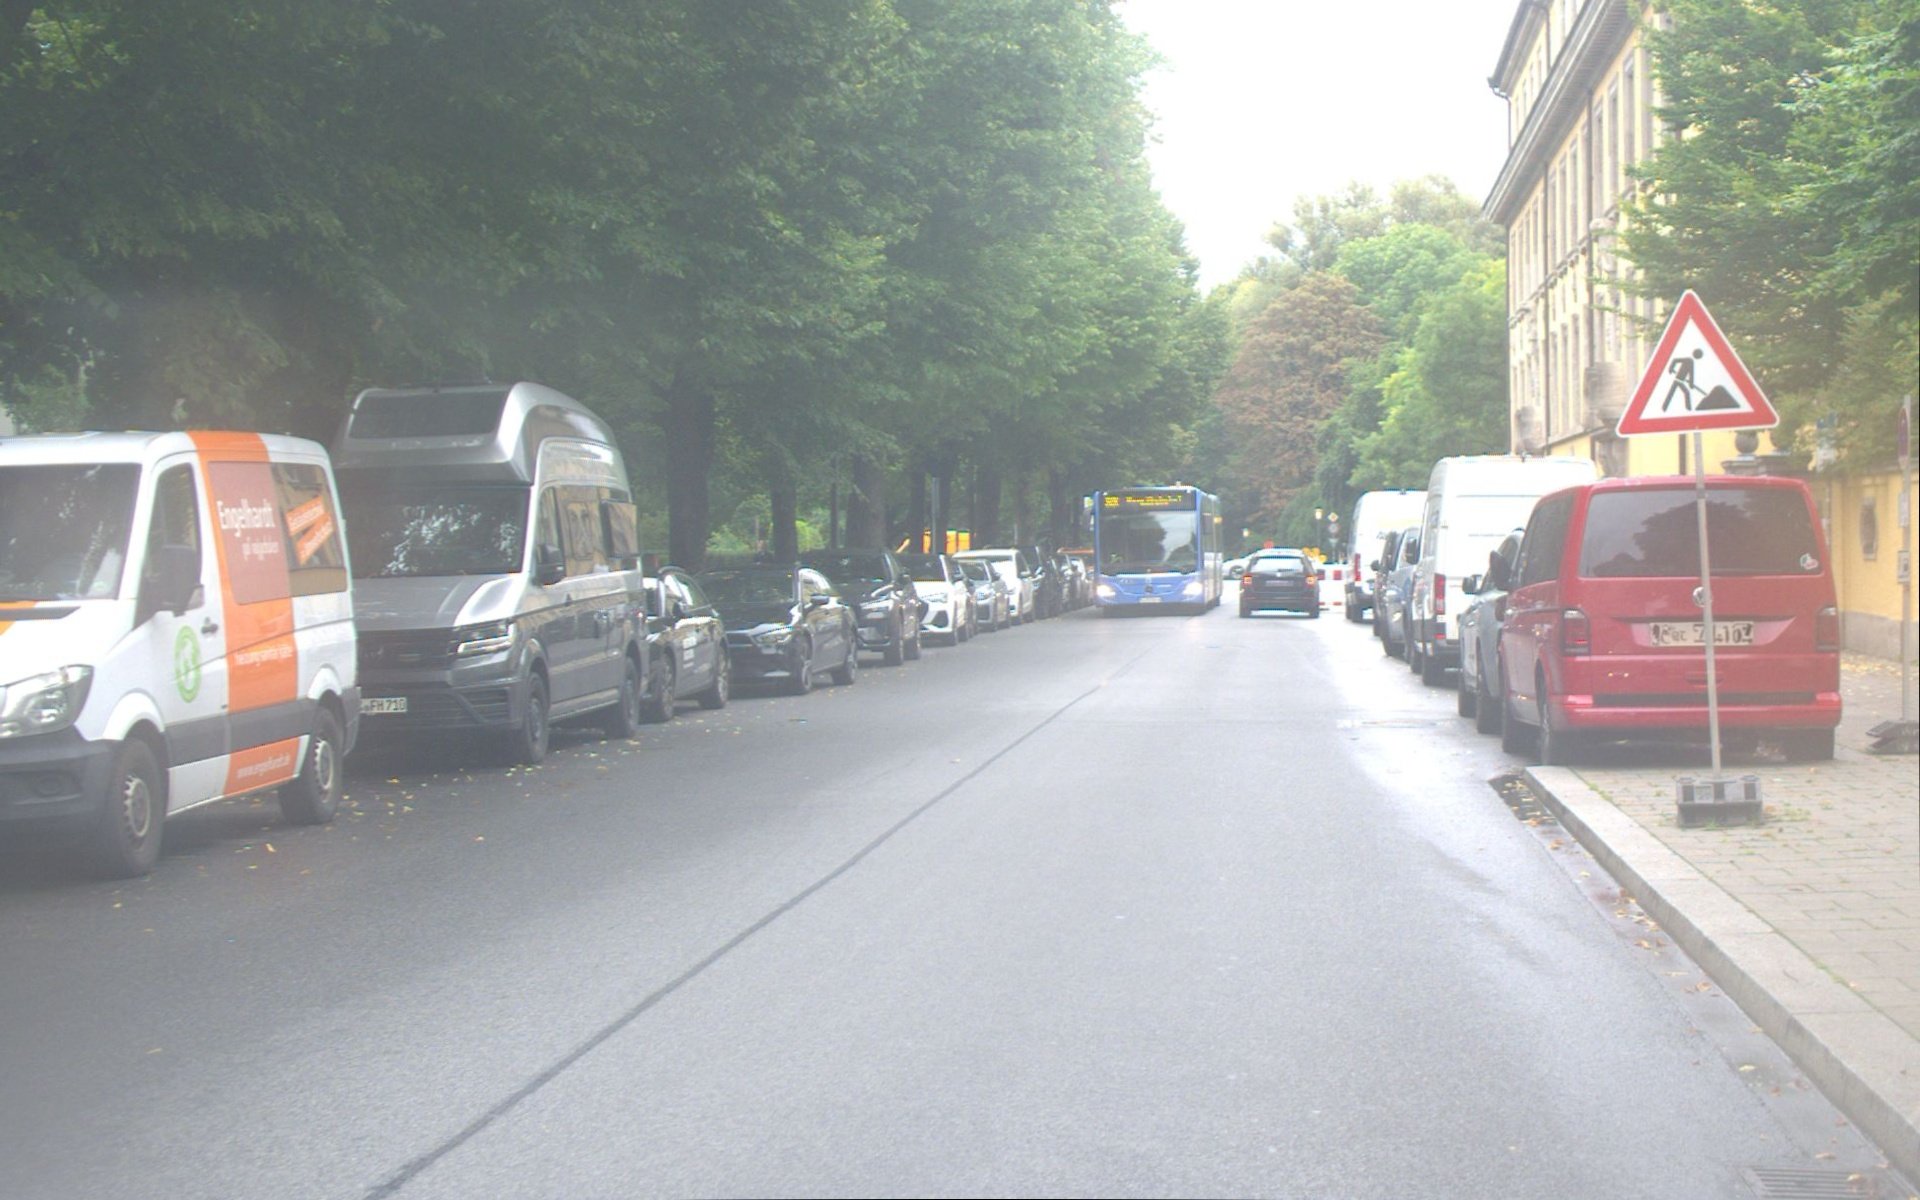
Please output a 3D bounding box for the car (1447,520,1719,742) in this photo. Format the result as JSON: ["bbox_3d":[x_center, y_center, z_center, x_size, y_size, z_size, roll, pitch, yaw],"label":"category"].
[{"bbox_3d":[5.253,0.214,29.513,1.859,1.735,4.602,1,1,5],"label":"car"}]

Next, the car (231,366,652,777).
[{"bbox_3d":[-3.905,-0.192,27.141,1.945,2.845,6.235,-1,0,4],"label":"car"}]

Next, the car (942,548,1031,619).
[{"bbox_3d":[0.604,-0.362,74.574,1.672,1.464,4.103,-1,0,4],"label":"car"}]

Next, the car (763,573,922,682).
[{"bbox_3d":[-1.597,0.374,48.037,1.790,1.449,3.948,-1,0,4],"label":"car"}]

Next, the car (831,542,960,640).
[{"bbox_3d":[-1.064,-0.160,58.698,1.784,1.592,4.584,-1,0,4],"label":"car"}]

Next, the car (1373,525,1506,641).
[{"bbox_3d":[8.093,-0.292,58.394,1.871,1.862,4.986,-1,0,4],"label":"car"}]

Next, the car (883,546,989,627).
[{"bbox_3d":[-0.421,-0.263,65.040,1.672,1.464,4.103,-1,0,4],"label":"car"}]

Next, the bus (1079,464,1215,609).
[{"bbox_3d":[4.878,-1.421,86.587,2.860,3.228,18.422,-1,0,5],"label":"bus"}]

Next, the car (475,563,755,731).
[{"bbox_3d":[-3.282,0.406,33.616,1.790,1.433,4.577,-1,1,6],"label":"car"}]

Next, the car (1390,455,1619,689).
[{"bbox_3d":[6.171,-0.291,39.587,2.095,2.479,5.739,-1,0,4],"label":"car"}]

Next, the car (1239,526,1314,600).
[{"bbox_3d":[7.075,-0.824,76.540,1.578,1.578,4.043,-1,0,6],"label":"car"}]

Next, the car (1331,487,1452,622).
[{"bbox_3d":[9.015,-0.929,72.356,2.055,2.664,7.613,-1,0,4],"label":"car"}]

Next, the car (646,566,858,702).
[{"bbox_3d":[-2.286,0.371,38.926,1.790,1.433,4.550,-1,0,4],"label":"car"}]

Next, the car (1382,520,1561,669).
[{"bbox_3d":[6.905,-0.104,46.889,2.014,1.900,5.163,1,1,4],"label":"car"}]

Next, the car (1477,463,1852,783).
[{"bbox_3d":[4.770,0.152,24.033,1.859,1.961,5.444,-1,0,4],"label":"car"}]

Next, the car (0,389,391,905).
[{"bbox_3d":[-4.730,0.230,18.382,2.114,2.340,5.407,-1,0,4],"label":"car"}]
